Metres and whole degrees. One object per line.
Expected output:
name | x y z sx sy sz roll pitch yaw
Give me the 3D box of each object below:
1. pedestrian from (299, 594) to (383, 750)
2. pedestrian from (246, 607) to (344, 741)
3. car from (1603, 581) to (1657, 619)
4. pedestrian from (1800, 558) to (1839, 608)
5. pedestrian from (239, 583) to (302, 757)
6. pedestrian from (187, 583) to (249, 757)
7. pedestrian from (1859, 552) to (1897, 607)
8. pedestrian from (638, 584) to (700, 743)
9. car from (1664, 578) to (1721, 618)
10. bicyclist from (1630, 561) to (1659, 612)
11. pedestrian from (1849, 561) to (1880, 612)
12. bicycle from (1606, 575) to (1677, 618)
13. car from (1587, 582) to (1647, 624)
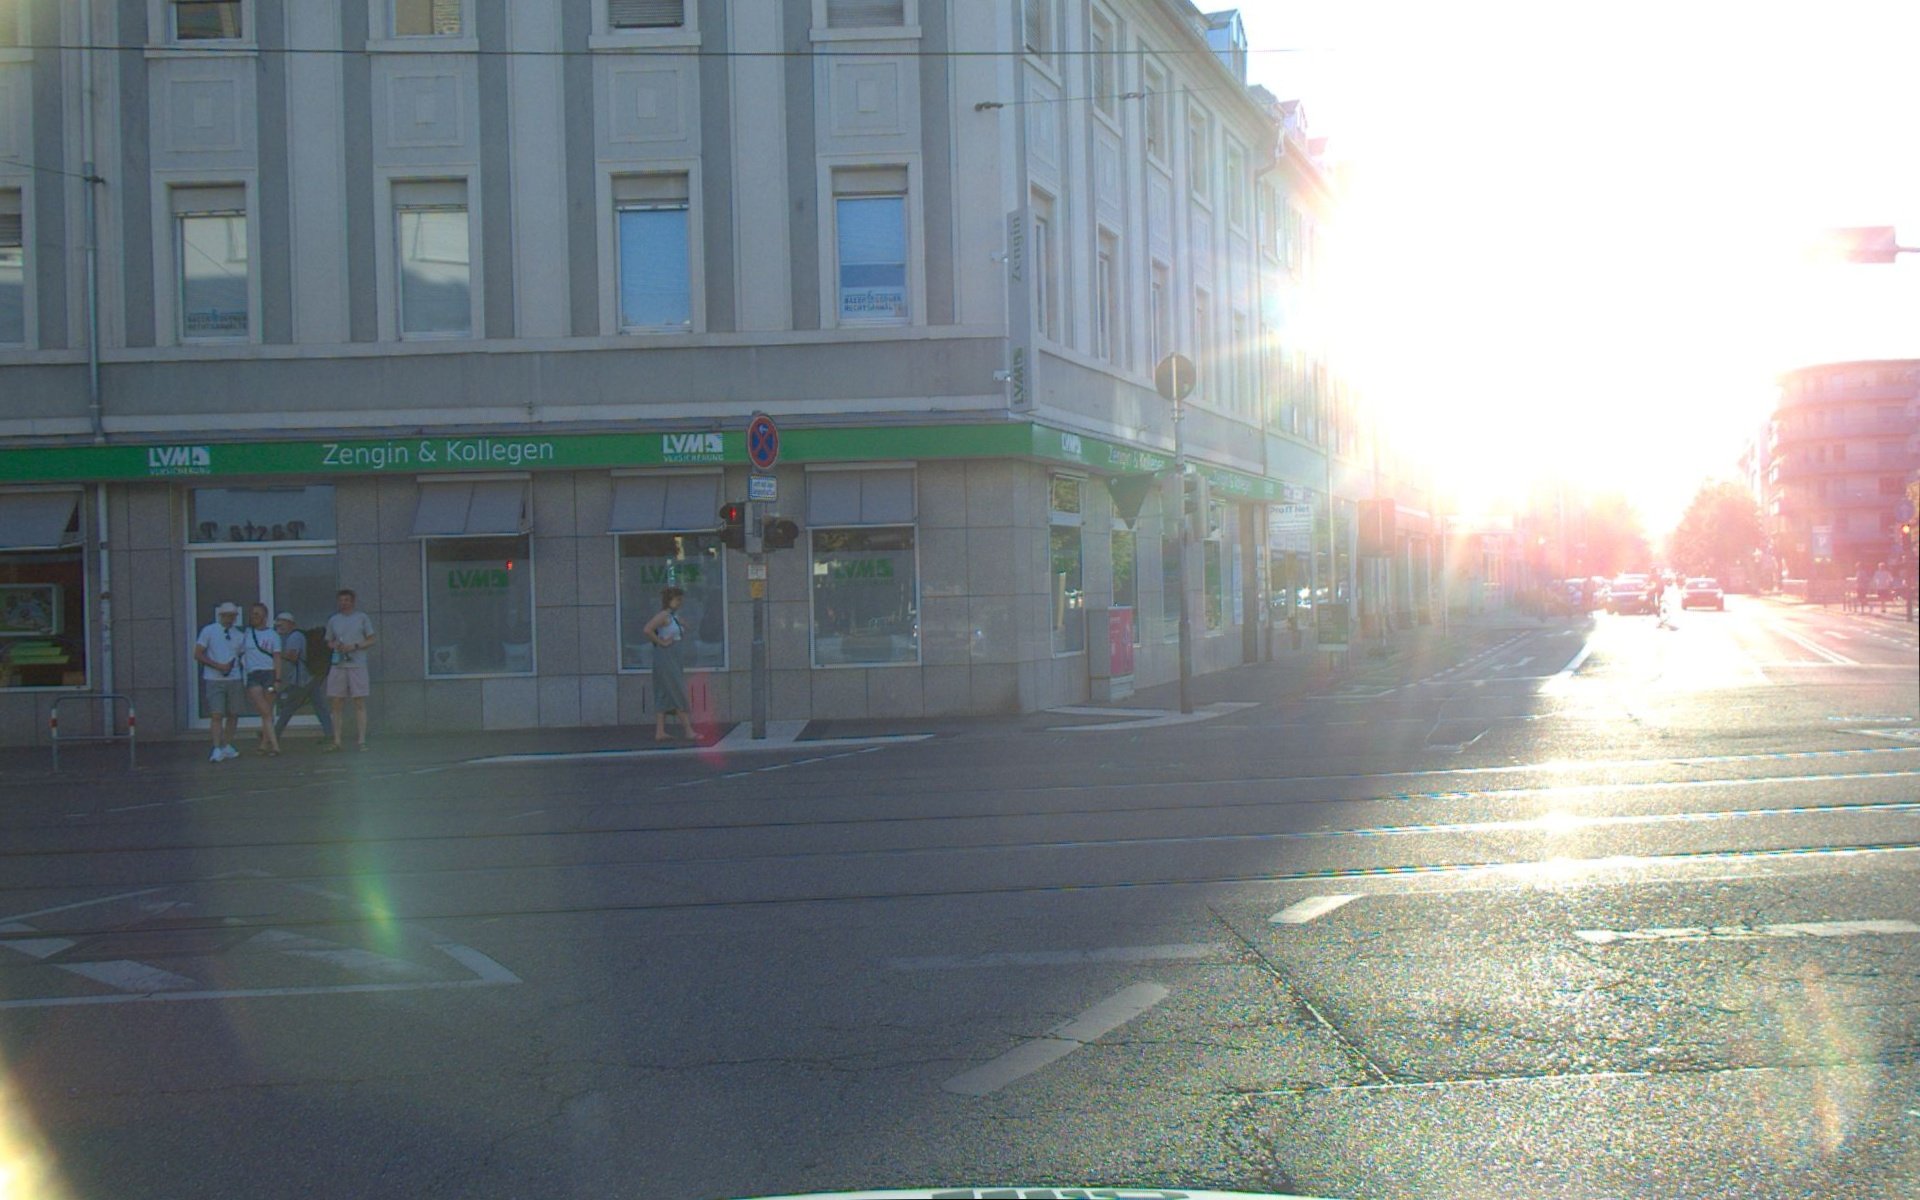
pedestrian | -7.218 0.826 19.305 0.683 1.776 0.640 -2 0 1
pedestrian | -8.075 0.887 20.104 0.849 1.575 0.699 -2 0 1
car | 31.915 -0.033 78.704 2.257 1.707 5.531 -2 0 23
pedestrian | 32.297 -0.644 62.171 0.793 1.815 0.986 -2 -1 -24
pedestrian | -7.995 0.798 19.198 0.519 1.962 0.638 -2 0 -13
pedestrian | -8.544 0.794 19.047 0.486 1.962 0.574 -2 0 -12
pedestrian | 34.535 -0.766 62.218 0.799 1.991 0.979 -1 -1 -40
pedestrian | -3.404 0.735 19.376 0.633 1.809 0.671 -2 0 -7
car | 34.169 -0.110 77.290 2.257 1.707 5.531 -2 0 23
bicyclist | 23.549 -0.455 56.916 0.674 1.737 0.660 -1 0 -39
pedestrian | 33.454 -0.500 61.139 0.790 1.817 0.990 -4 -2 37
bicycle | 23.485 -0.120 57.014 0.674 1.426 2.199 -1 0 -38
car | 28.587 0.104 71.875 2.257 1.707 5.531 -2 0 23
